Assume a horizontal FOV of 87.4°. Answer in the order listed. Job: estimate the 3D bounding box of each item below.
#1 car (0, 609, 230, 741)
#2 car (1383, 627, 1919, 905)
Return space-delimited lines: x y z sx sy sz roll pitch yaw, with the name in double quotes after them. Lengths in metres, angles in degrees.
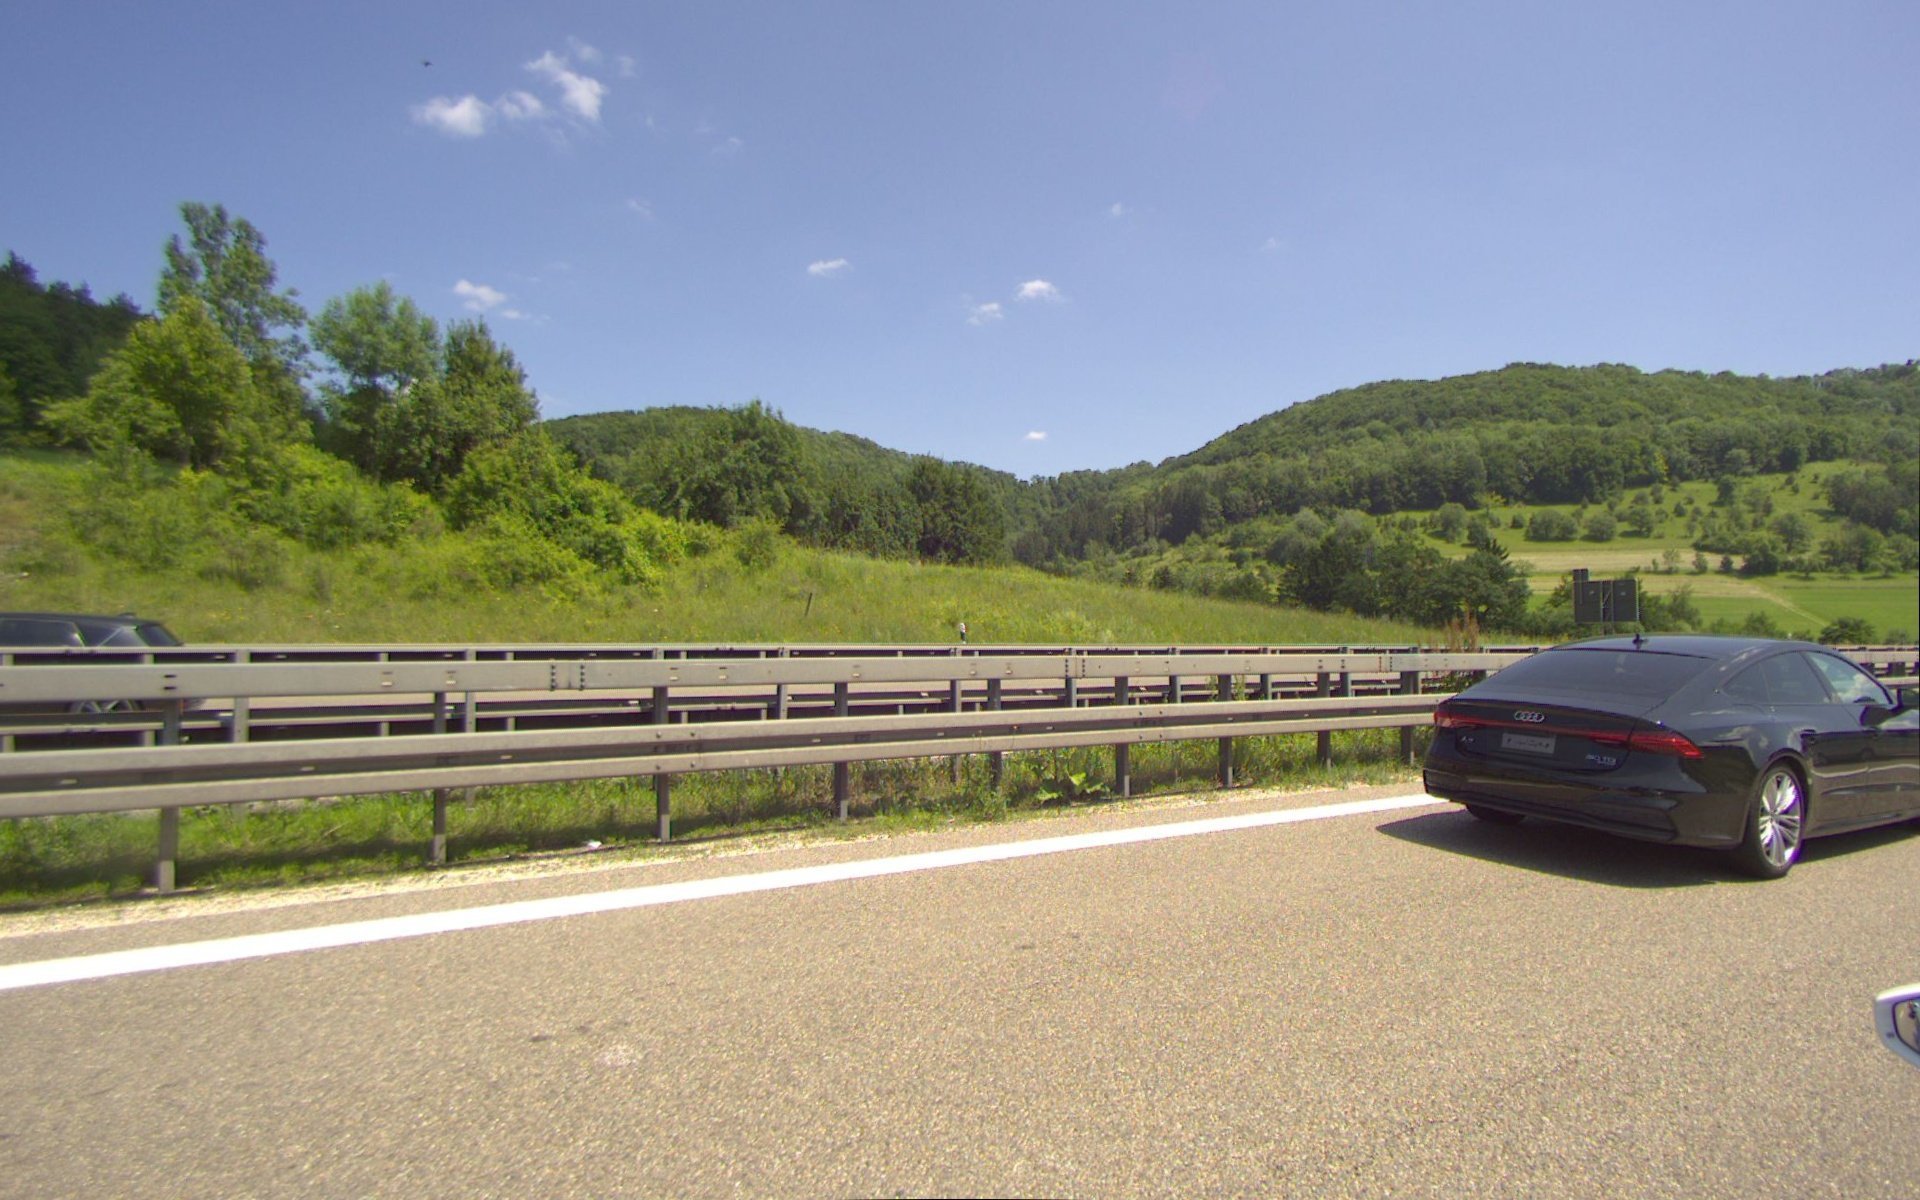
-10.641 0.807 11.335 3.697 1.386 1.683 1 -1 -30 "car"
5.415 0.935 7.235 4.911 1.409 1.792 1 -1 -30 "car"
